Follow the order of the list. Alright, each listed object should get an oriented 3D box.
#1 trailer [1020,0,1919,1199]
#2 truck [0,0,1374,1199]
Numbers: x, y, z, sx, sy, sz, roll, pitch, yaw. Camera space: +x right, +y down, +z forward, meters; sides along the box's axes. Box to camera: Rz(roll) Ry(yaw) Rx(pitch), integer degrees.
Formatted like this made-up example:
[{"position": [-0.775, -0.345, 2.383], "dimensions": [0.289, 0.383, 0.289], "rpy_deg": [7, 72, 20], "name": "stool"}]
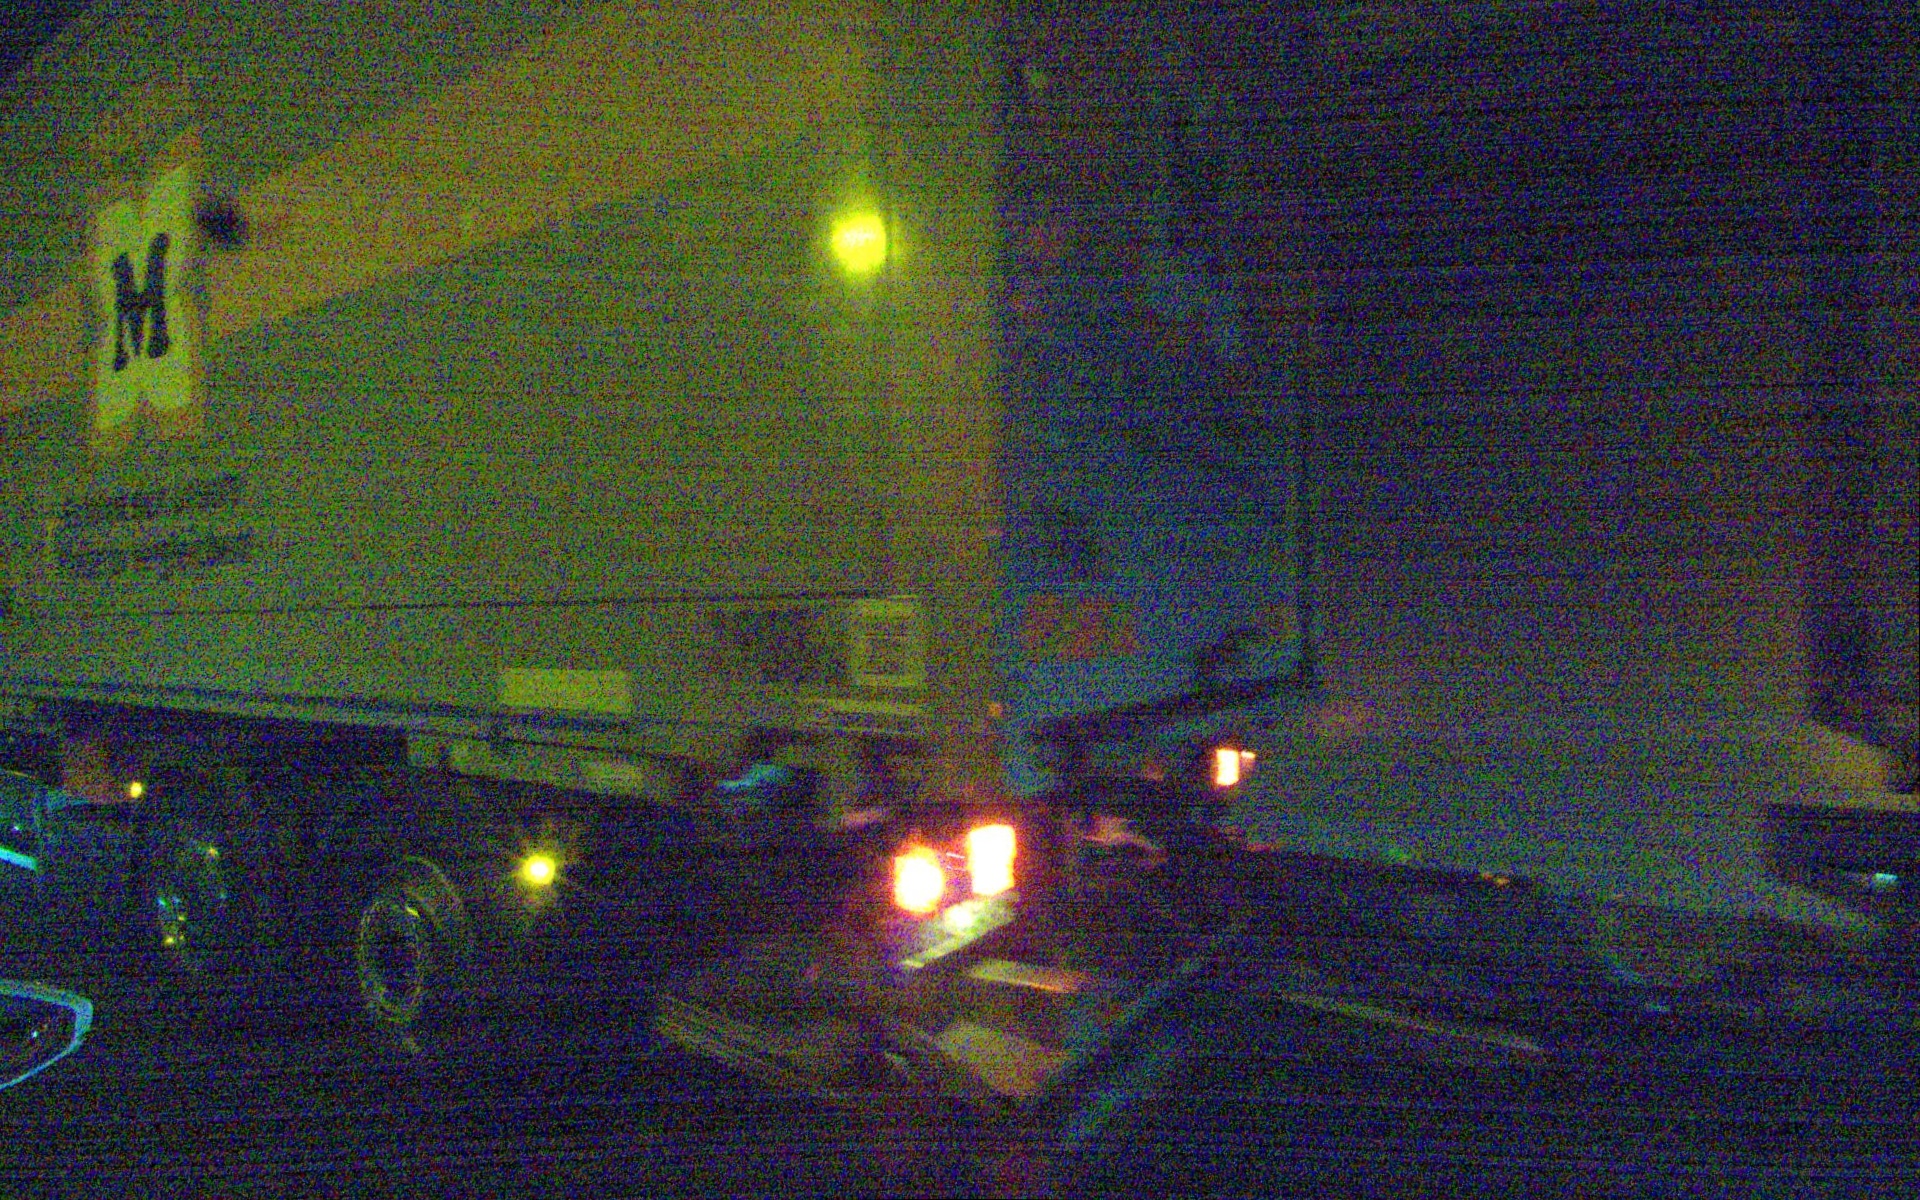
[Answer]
[{"position": [4.568, -0.592, 0.444], "dimensions": [8.820, 3.909, 2.869], "rpy_deg": [-1, 0, 32], "name": "trailer"}, {"position": [-3.219, -0.457, 5.404], "dimensions": [9.766, 3.965, 2.883], "rpy_deg": [-1, 0, 32], "name": "truck"}]
